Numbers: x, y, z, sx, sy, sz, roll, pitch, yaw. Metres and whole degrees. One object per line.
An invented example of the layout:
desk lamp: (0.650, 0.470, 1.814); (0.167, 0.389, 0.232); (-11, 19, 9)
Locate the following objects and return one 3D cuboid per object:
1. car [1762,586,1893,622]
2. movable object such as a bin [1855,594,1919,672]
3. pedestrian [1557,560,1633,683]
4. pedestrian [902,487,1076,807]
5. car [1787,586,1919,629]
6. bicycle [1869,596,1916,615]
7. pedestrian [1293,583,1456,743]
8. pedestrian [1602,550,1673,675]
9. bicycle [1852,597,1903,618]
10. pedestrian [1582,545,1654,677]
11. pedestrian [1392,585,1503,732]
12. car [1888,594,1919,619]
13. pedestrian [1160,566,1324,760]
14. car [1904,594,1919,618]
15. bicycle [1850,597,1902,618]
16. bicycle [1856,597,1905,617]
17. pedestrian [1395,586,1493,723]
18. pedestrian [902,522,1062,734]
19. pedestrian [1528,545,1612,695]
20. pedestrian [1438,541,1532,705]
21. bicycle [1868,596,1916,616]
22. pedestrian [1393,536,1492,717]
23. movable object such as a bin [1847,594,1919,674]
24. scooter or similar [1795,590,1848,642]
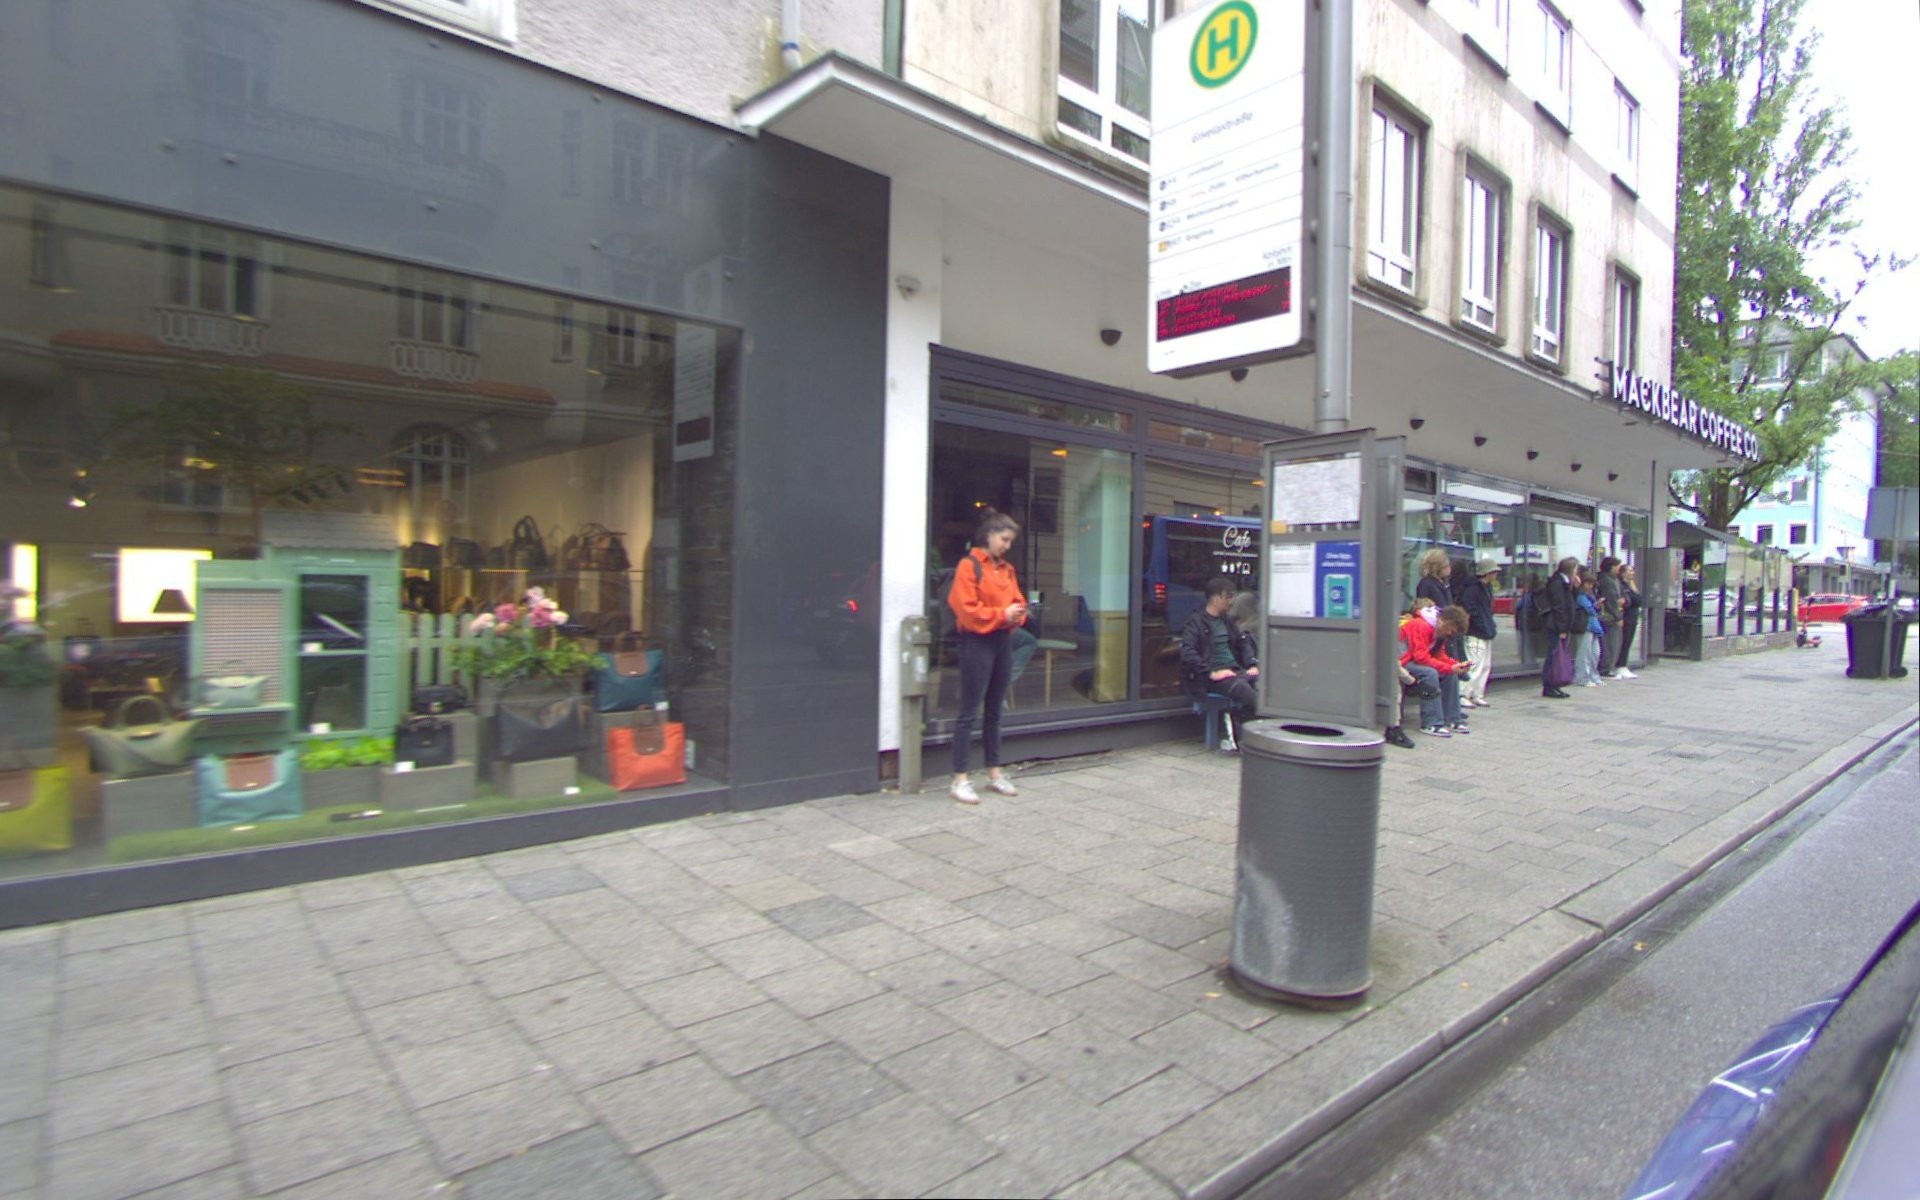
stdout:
car: (39.954, 0.150, 46.690); (1.965, 1.446, 4.352); (0, 2, -41)
movable object such as a bin: (16.086, 0.552, 17.487); (0.875, 1.266, 0.786); (2, 2, 45)
pedestrian: (8.648, 0.270, 13.781); (0.683, 1.613, 0.659); (0, 1, -40)
pedestrian: (0.169, 0.246, 6.060); (0.733, 1.754, 0.704); (0, 1, -40)
car: (33.791, 0.258, 37.829); (1.965, 1.446, 4.166); (0, 2, -41)
bicycle: (58.597, 0.332, 63.632); (2.115, 1.131, 0.620); (3, 2, 40)
pedestrian: (3.548, 0.494, 8.716); (0.656, 1.252, 1.099); (0, 2, -40)
pedestrian: (10.099, 0.165, 15.086); (0.757, 1.805, 0.659); (0, 1, -40)
bicycle: (53.260, 0.438, 58.790); (2.115, 1.131, 0.728); (3, 2, 40)
pedestrian: (9.504, 0.144, 14.621); (0.683, 1.845, 0.659); (0, 1, -40)
pedestrian: (4.445, 0.502, 9.236); (0.574, 1.252, 0.709); (0, 2, -40)
car: (62.873, 0.421, 67.028); (3.931, 1.571, 1.717); (0, 2, -42)
pedestrian: (2.162, 0.433, 7.779); (0.847, 1.369, 0.862); (0, 2, -40)
car: (66.873, 0.419, 70.141); (3.931, 1.571, 1.717); (0, 2, -42)
bicycle: (52.668, 0.434, 58.218); (2.115, 1.131, 0.728); (3, 2, 40)
bicycle: (55.366, 0.403, 60.884); (2.115, 1.131, 0.620); (3, 2, 40)
pedestrian: (4.662, 0.499, 9.761); (0.487, 1.252, 0.681); (0, 2, -40)
pedestrian: (0.156, 0.171, 7.294); (0.829, 1.405, 0.771); (0, 2, -41)
pedestrian: (7.449, 0.224, 12.357); (0.683, 1.754, 0.659); (0, 1, -40)
pedestrian: (5.871, 0.230, 11.319); (0.764, 1.754, 0.659); (0, 1, -40)
bicycle: (58.007, 0.376, 63.006); (2.115, 1.131, 0.620); (3, 2, 40)
pedestrian: (4.917, 0.246, 10.323); (0.672, 1.754, 0.659); (0, 1, -40)
movable object such as a bin: (15.465, 0.547, 16.938); (0.875, 1.266, 0.786); (2, 2, 45)
scooter or similar: (21.476, 0.384, 25.227); (1.415, 1.257, 0.565); (0, 1, -30)
